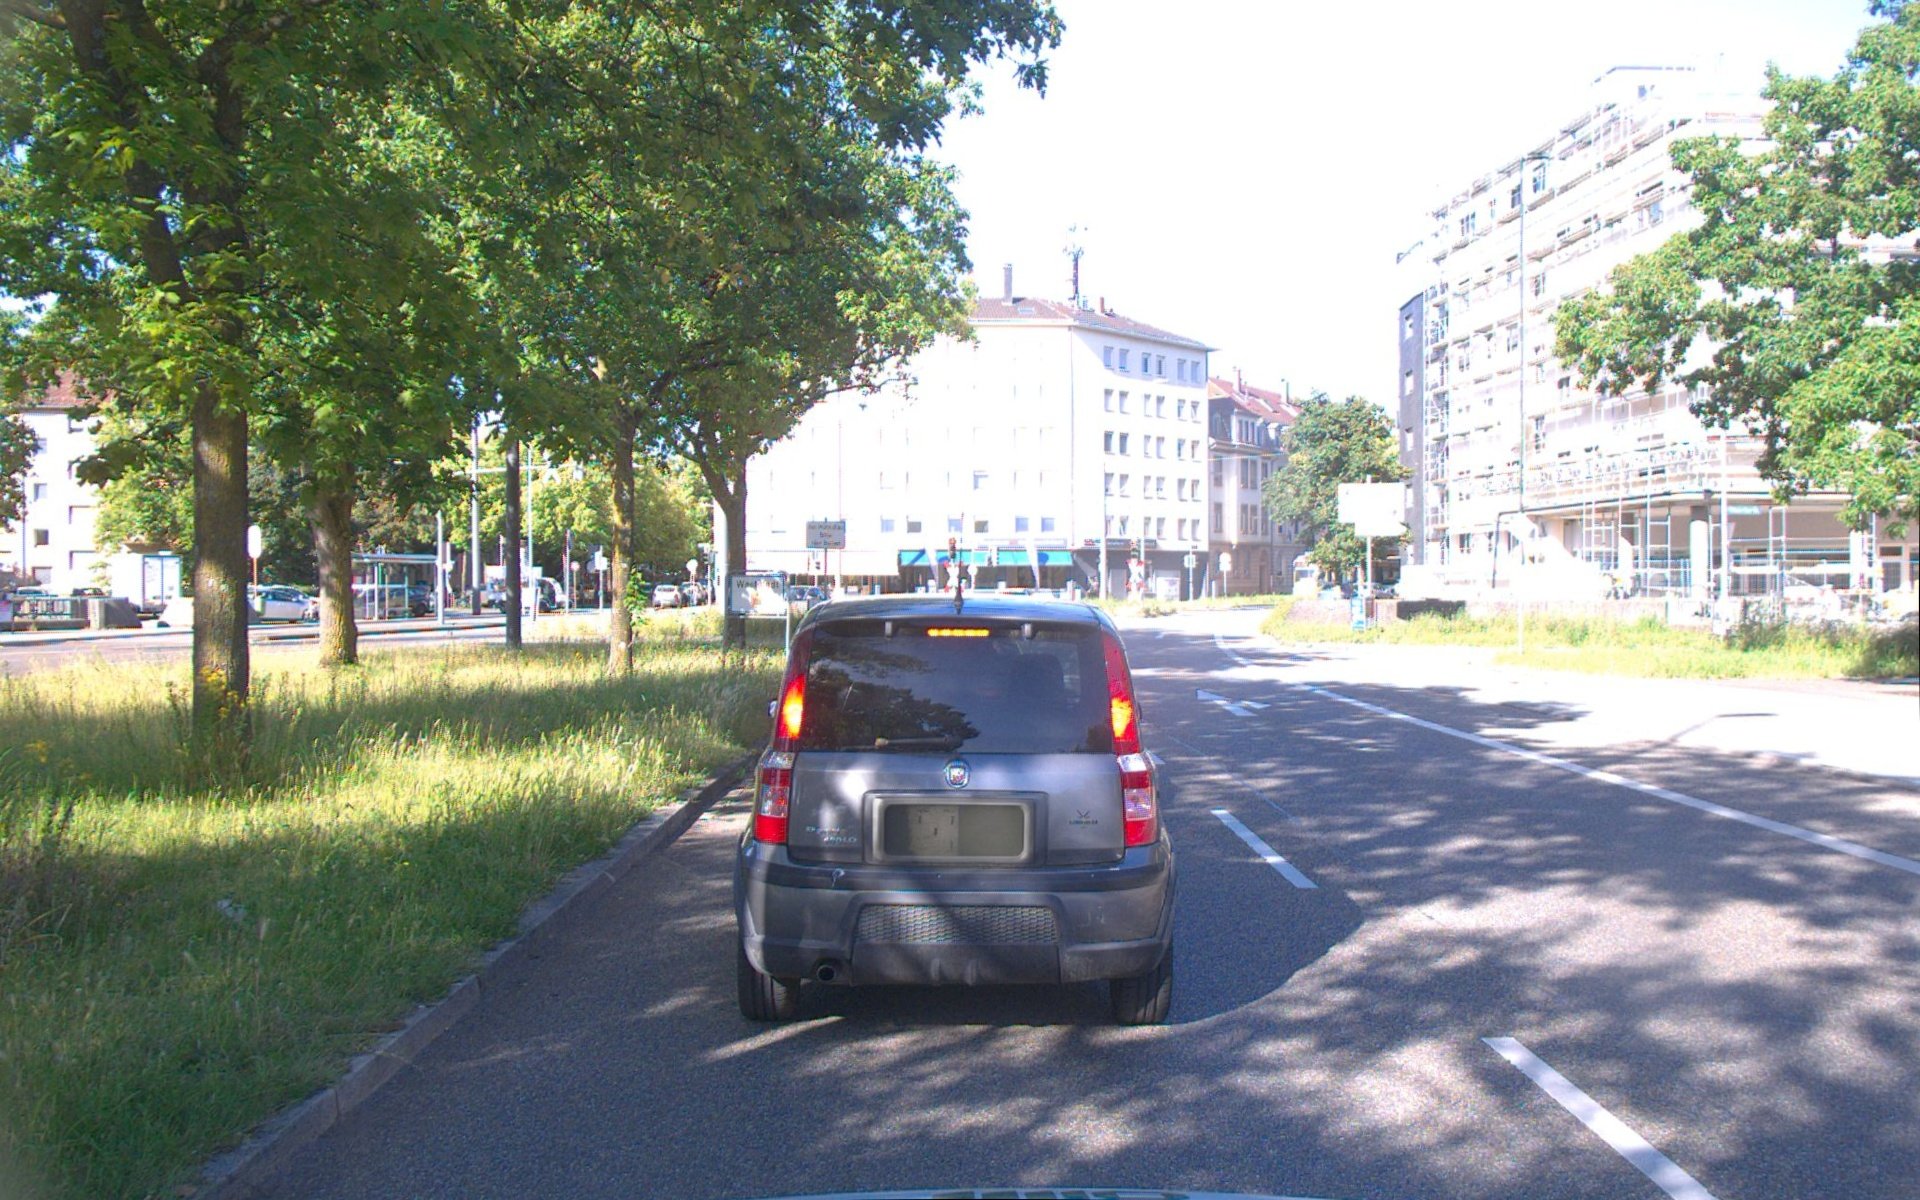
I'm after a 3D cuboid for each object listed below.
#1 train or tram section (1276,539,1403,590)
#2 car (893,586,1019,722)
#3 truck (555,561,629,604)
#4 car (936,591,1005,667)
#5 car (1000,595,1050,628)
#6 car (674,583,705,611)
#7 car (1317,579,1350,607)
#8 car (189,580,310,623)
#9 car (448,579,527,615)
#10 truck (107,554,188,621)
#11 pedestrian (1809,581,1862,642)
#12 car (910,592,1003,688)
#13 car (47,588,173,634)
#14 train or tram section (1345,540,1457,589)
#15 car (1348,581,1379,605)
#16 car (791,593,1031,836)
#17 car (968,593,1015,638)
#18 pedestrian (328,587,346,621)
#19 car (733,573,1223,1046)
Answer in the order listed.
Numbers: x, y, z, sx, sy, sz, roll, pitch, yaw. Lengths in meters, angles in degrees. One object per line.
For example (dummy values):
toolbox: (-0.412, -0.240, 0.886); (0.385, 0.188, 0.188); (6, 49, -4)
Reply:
train or tram section: (28.862, -2.606, 124.639); (3.236, 3.574, 19.336); (0, 1, 32)
car: (-0.068, 0.603, 20.674); (1.434, 1.534, 3.504); (0, 1, -1)
truck: (-28.350, -1.360, 127.371); (5.371, 3.224, 2.341); (0, 0, 28)
car: (0.182, 0.554, 33.862); (1.328, 1.475, 3.265); (0, 0, -1)
car: (2.290, 0.399, 57.703); (1.118, 1.083, 2.723); (0, 1, 17)
car: (-20.145, -0.250, 123.287); (1.954, 2.049, 3.996); (0, 1, -5)
car: (20.512, -0.400, 90.713); (1.646, 1.475, 3.574); (0, 1, 15)
car: (-29.948, 0.047, 69.786); (1.961, 1.713, 4.302); (0, 1, 38)
car: (-27.926, -0.187, 97.839); (4.093, 2.049, 1.930); (0, 0, -3)
truck: (-35.737, -0.553, 72.693); (3.932, 2.854, 1.987); (0, 1, 44)
pedestrian: (24.510, 0.301, 46.320); (0.875, 1.682, 0.982); (0, 0, -19)
car: (-0.076, 0.608, 27.259); (1.434, 1.449, 3.381); (0, 1, -1)
car: (-33.569, 0.414, 65.407); (1.961, 1.713, 3.983); (0, 1, 38)
train or tram section: (37.072, -2.877, 137.994); (3.236, 3.836, 20.759); (0, 1, 32)
car: (23.017, -0.402, 94.243); (1.495, 1.337, 3.289); (0, 1, 17)
car: (-0.315, 0.681, 11.629); (1.434, 1.425, 3.393); (0, 1, -1)
car: (0.923, 0.441, 49.608); (1.328, 1.304, 2.875); (0, 1, -1)
pedestrian: (-26.706, 0.166, 70.872); (0.407, 1.415, 0.626); (0, 0, 26)
car: (0.034, 0.660, 7.414); (1.595, 1.534, 3.999); (0, 1, -1)
